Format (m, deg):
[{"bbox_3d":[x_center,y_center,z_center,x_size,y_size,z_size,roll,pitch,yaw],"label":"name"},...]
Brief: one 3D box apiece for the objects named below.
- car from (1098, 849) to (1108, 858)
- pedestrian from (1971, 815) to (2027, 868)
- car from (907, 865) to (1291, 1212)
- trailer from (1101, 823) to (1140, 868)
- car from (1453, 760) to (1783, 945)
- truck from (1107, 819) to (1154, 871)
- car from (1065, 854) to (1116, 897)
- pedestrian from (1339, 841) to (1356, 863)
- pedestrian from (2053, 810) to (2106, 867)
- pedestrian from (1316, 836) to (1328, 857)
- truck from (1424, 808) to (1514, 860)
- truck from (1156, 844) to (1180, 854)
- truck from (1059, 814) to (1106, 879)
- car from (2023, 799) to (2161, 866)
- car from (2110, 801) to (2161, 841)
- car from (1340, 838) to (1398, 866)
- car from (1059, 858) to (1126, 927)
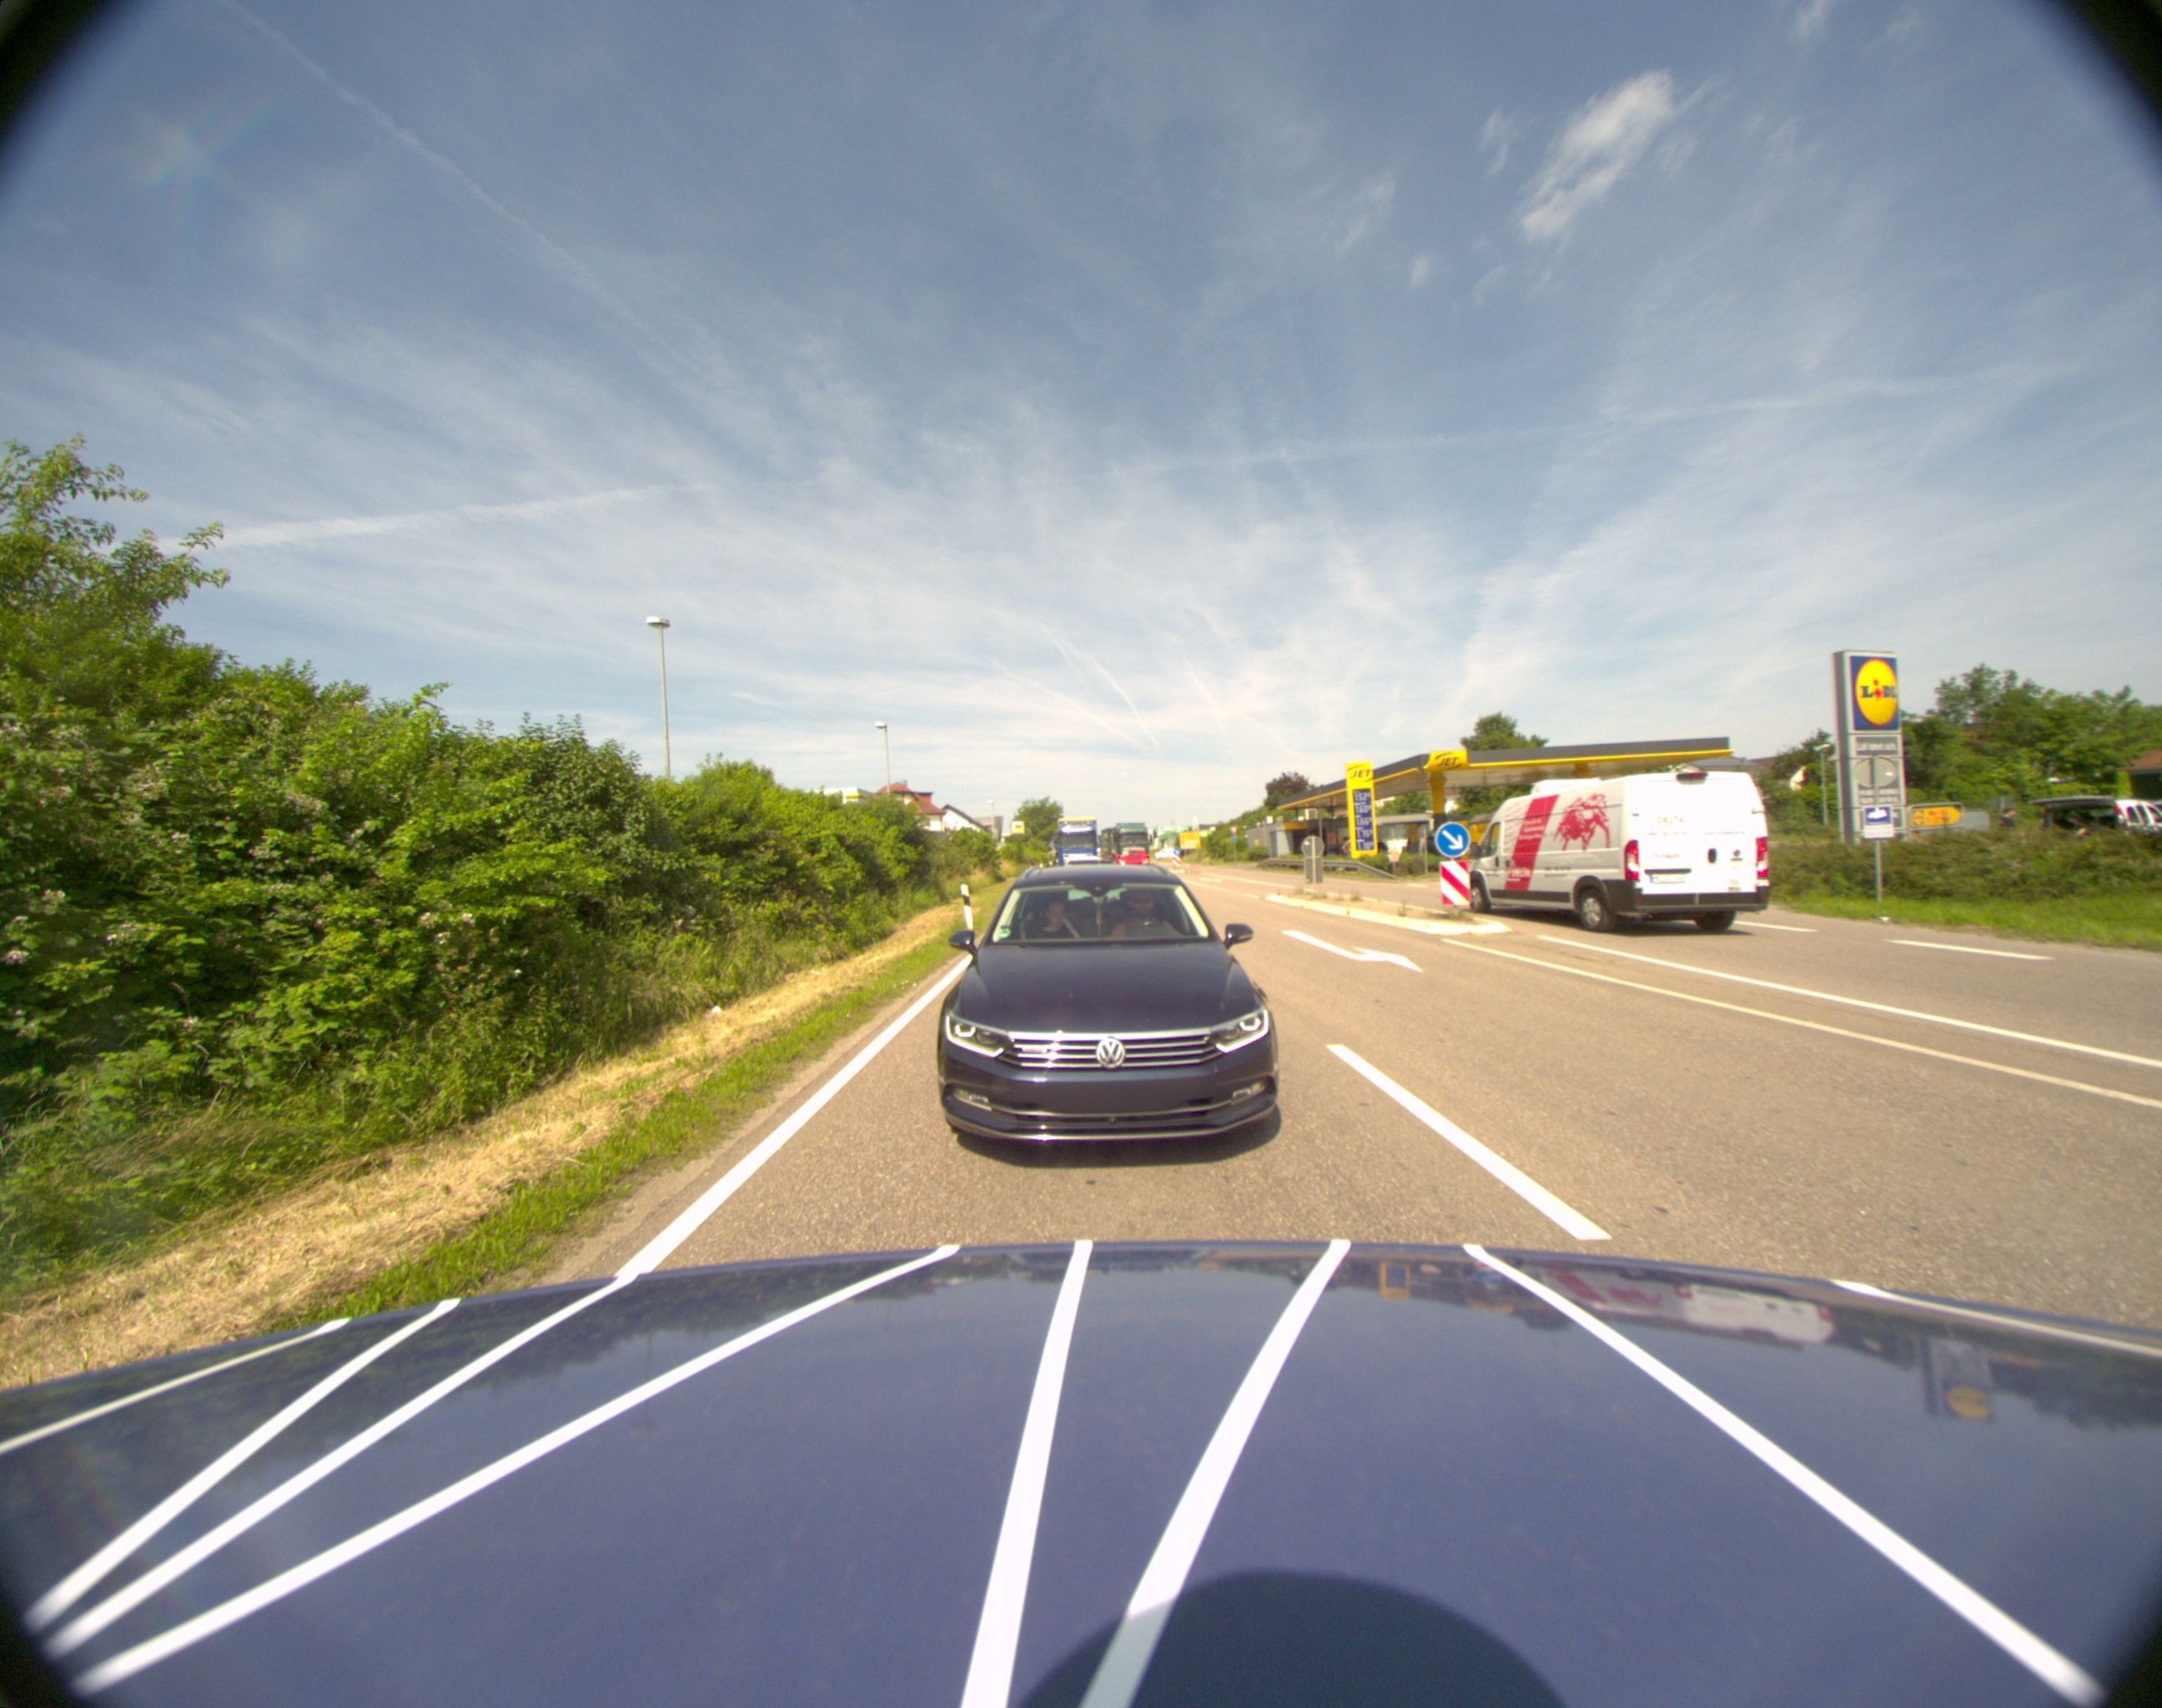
[{"bbox_3d":[4.047,-0.057,139.519,1.819,1.626,3.893,-2,0,1],"label":"car"},{"bbox_3d":[27.534,-0.369,22.797,0.704,1.566,0.808,-2,1,-8],"label":"pedestrian"},{"bbox_3d":[0.121,0.909,6.037,1.756,1.493,4.925,-2,0,1],"label":"car"},{"bbox_3d":[3.644,-0.777,72.258,2.809,3.897,8.667,-2,0,-3],"label":"trailer"},{"bbox_3d":[9.359,-0.053,14.171,2.122,2.639,5.986,-2,1,3],"label":"car"},{"bbox_3d":[3.943,-0.714,62.917,2.675,3.897,10.046,-2,0,-3],"label":"truck"},{"bbox_3d":[0.379,0.796,29.834,1.814,1.466,3.973,-2,0,1],"label":"car"},{"bbox_3d":[17.669,-0.123,50.311,0.914,1.419,0.494,-2,1,3],"label":"pedestrian"},{"bbox_3d":[28.496,-0.444,21.693,0.705,1.566,0.807,-3,2,-27],"label":"pedestrian"},{"bbox_3d":[21.327,-0.691,67.376,0.798,1.827,0.640,-3,1,1],"label":"pedestrian"},{"bbox_3d":[23.843,-1.181,47.022,2.250,2.906,6.282,-2,1,-1],"label":"truck"},{"bbox_3d":[18.537,-1.072,162.469,4.770,1.997,2.000,-3,1,2],"label":"truck"},{"bbox_3d":[0.194,-0.532,54.284,2.855,3.999,12.916,-2,0,1],"label":"truck"},{"bbox_3d":[30.682,-0.664,22.819,4.172,1.801,1.877,-3,1,-23],"label":"car"},{"bbox_3d":[44.667,-1.426,30.776,3.999,1.531,1.769,-3,0,-7],"label":"car"},{"bbox_3d":[19.029,-0.131,50.407,1.999,1.696,4.263,-2,0,-3],"label":"car"},{"bbox_3d":[0.291,0.883,19.012,1.471,1.451,3.797,-2,0,1],"label":"car"}]
